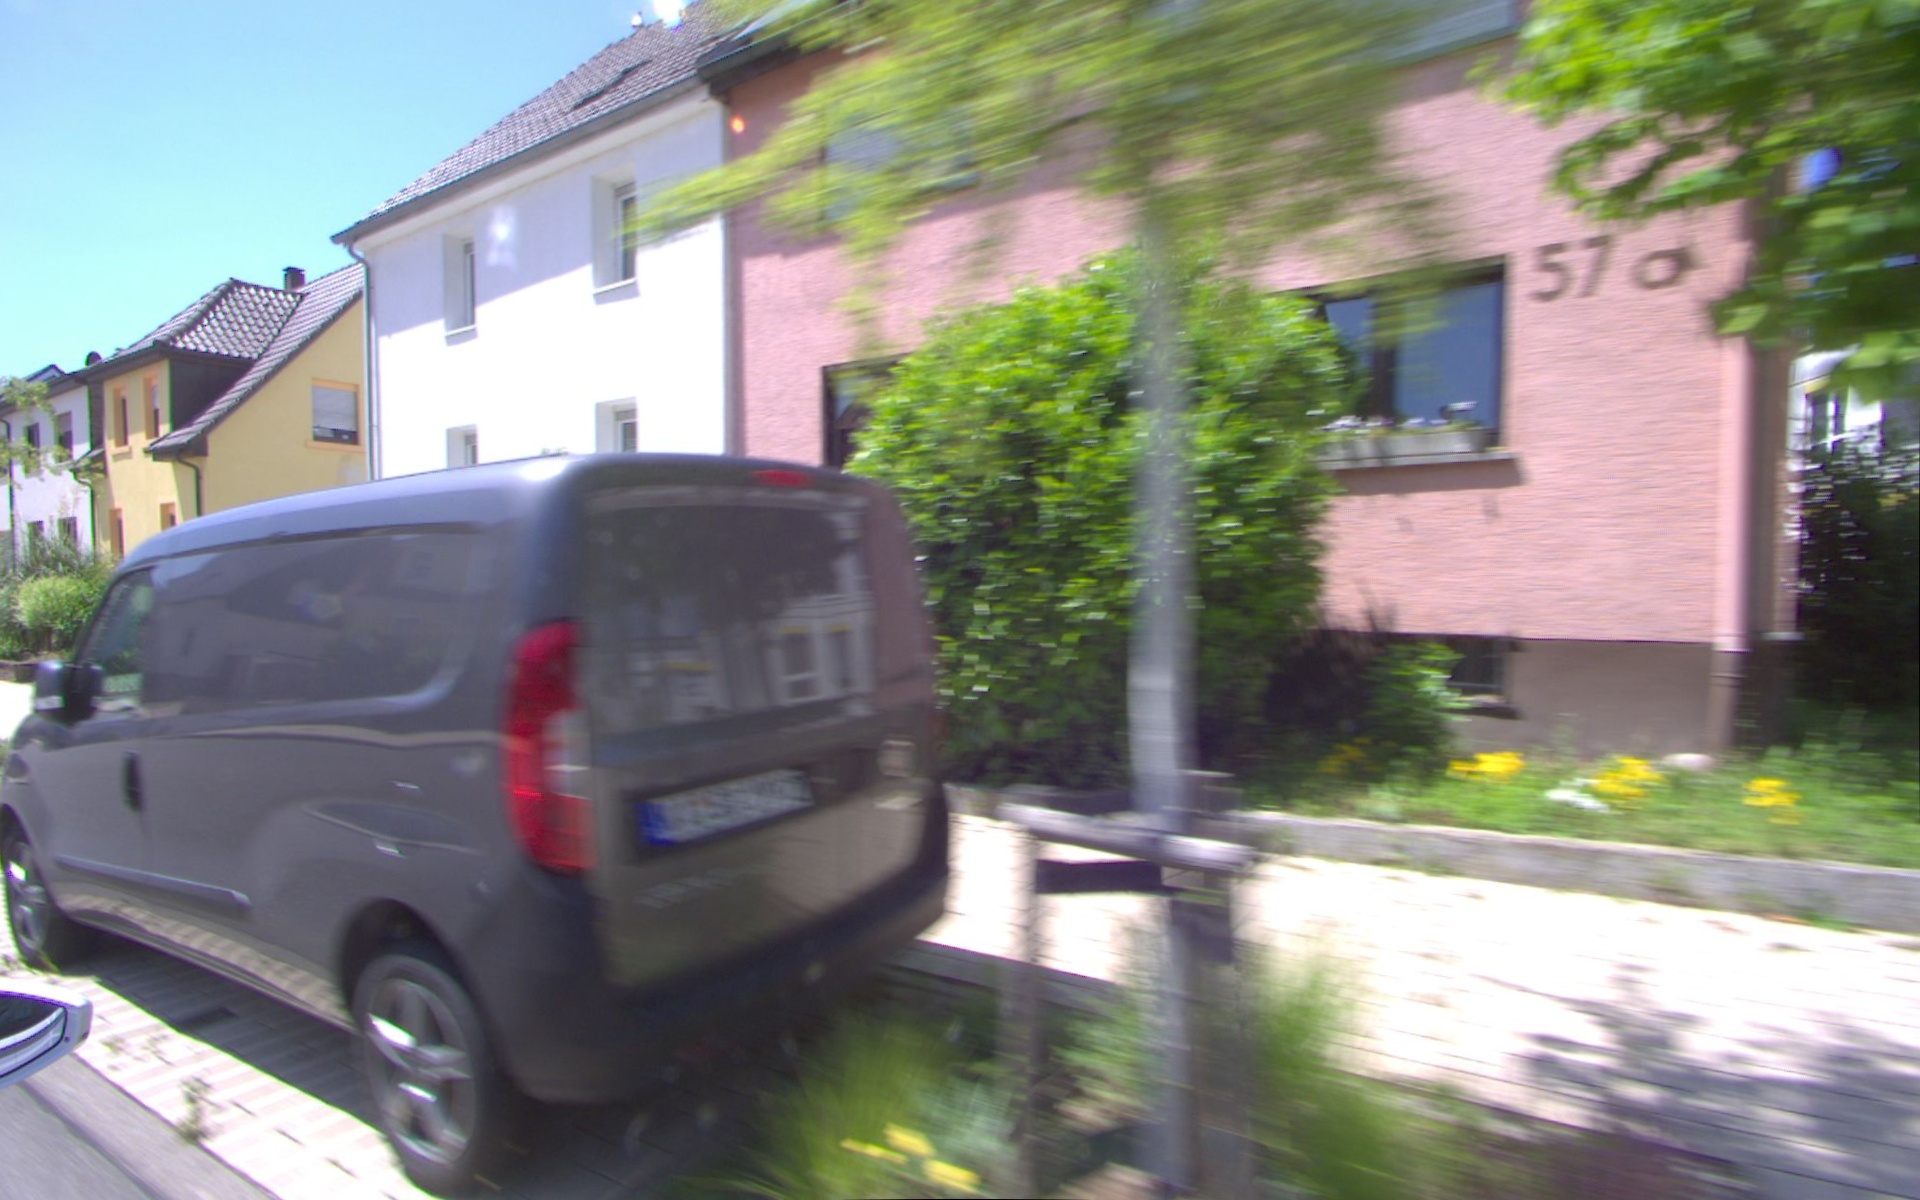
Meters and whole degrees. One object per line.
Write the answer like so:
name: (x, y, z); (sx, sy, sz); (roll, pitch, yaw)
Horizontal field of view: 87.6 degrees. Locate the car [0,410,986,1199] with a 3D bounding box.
car: (-2.332, 0.538, 4.109); (4.605, 1.867, 1.850); (0, 2, 34)
